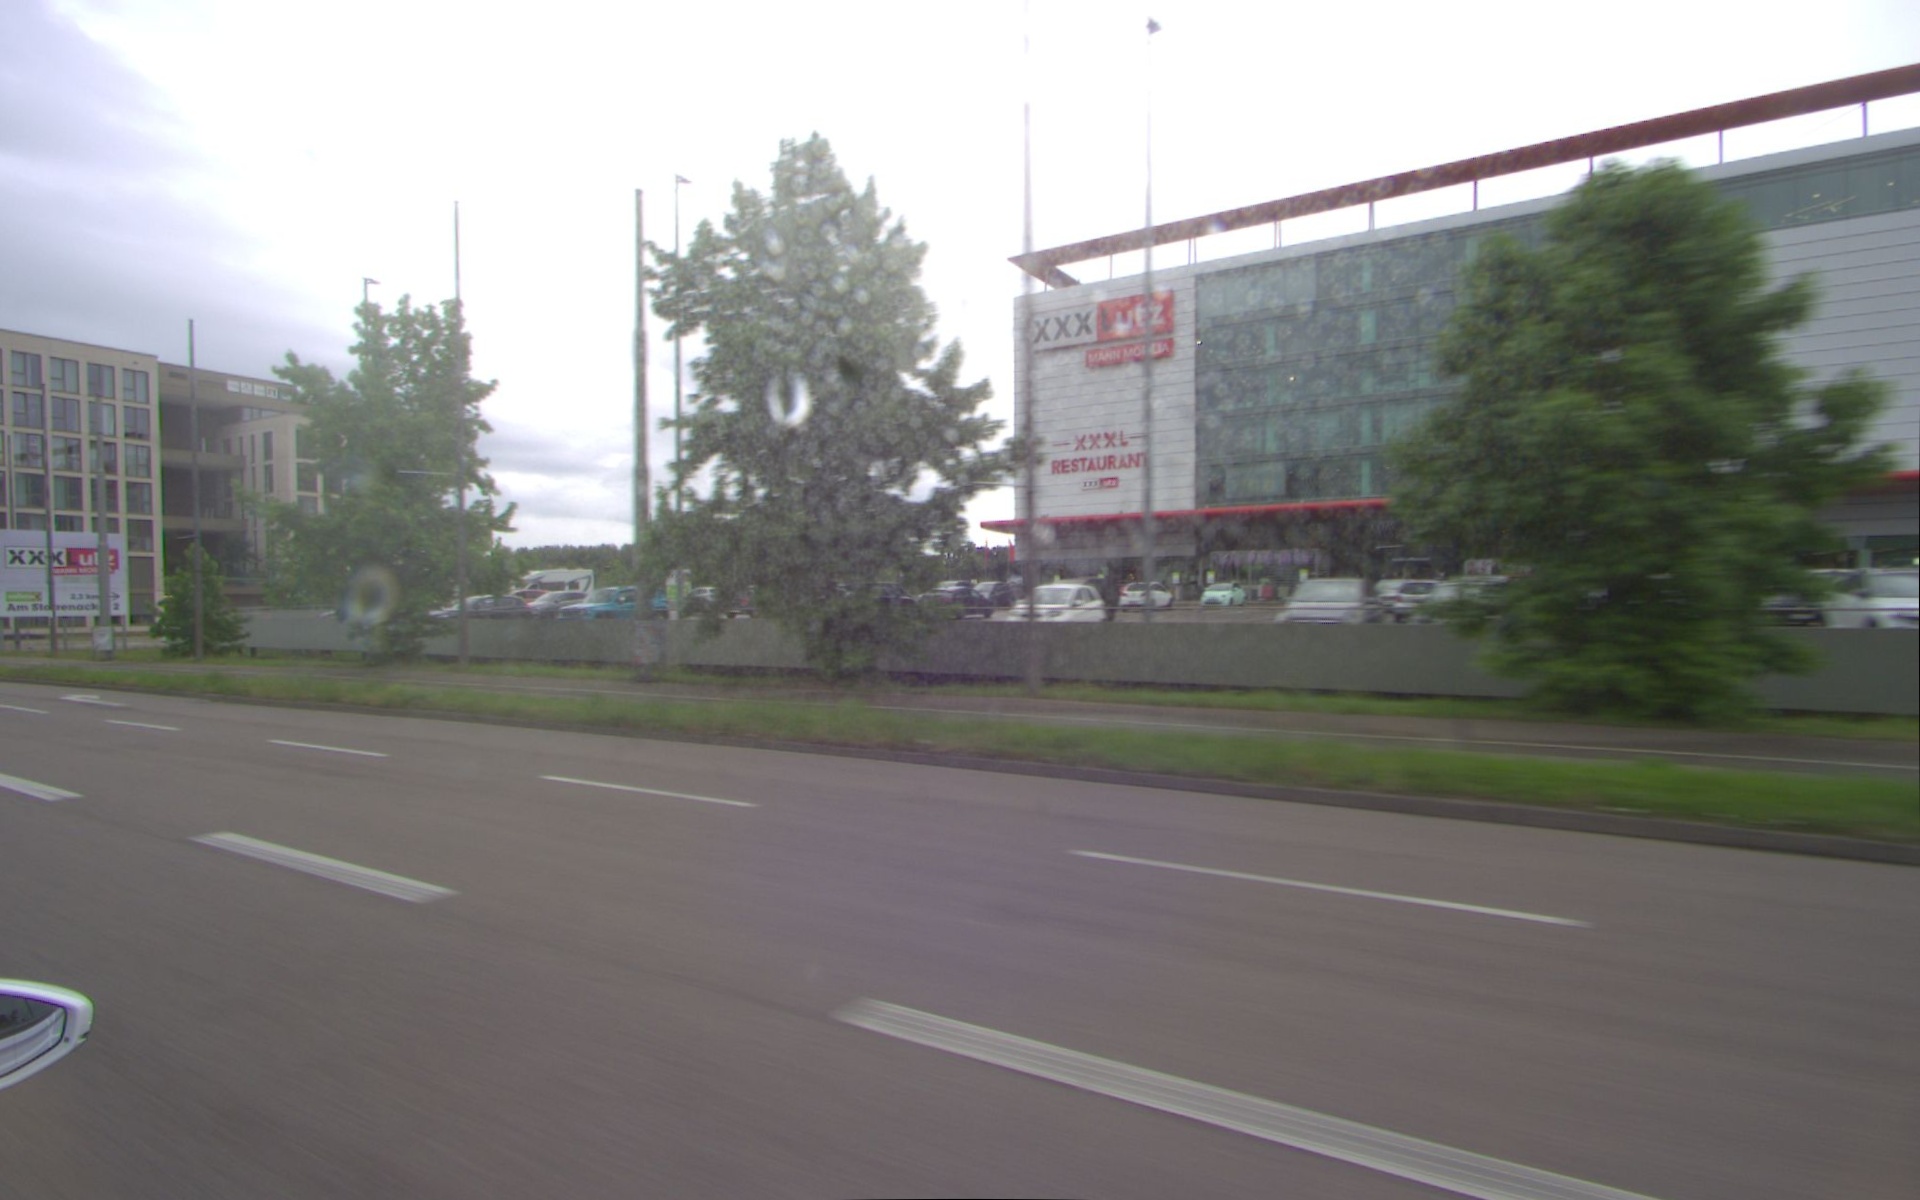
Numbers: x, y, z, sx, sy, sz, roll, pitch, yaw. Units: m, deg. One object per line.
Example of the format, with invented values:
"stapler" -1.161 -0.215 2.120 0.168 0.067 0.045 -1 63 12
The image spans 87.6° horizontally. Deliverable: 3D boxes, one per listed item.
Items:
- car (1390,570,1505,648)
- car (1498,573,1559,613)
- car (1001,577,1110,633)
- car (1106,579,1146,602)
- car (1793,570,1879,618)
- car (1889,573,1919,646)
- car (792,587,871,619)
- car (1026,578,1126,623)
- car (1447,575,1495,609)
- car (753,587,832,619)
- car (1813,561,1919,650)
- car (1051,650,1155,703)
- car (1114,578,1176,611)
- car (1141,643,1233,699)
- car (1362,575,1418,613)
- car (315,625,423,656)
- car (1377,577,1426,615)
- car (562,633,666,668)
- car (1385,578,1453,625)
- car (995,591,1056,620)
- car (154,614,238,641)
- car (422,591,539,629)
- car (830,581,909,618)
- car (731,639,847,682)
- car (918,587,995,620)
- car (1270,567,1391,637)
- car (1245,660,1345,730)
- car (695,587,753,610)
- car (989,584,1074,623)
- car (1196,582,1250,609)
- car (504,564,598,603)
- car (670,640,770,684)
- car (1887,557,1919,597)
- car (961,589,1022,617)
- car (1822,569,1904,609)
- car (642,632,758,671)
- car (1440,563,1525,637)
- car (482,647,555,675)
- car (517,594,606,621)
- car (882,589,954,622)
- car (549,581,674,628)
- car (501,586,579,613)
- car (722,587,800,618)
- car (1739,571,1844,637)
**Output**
"car" 10.072 0.155 20.540 1.737 1.418 4.047 2 1 31
"car" 23.720 -0.292 41.735 1.719 1.575 3.780 2 1 37
"car" 2.529 0.115 25.841 1.580 1.325 3.511 2 1 27
"car" 11.252 -0.620 67.693 1.682 1.518 3.630 2 1 27
"car" 31.884 -0.207 36.556 1.856 1.632 3.976 2 1 35
"car" 23.755 0.228 23.852 1.808 1.685 4.161 -1 -1 35
"car" -6.258 0.126 49.166 1.759 1.528 3.832 1 1 35
"car" 4.470 -0.006 38.077 1.972 1.613 4.355 2 1 34
"car" 25.236 -0.393 49.389 1.717 1.575 3.785 2 1 32
"car" -8.368 0.137 50.346 1.760 1.528 3.830 1 1 36
"car" 16.287 0.105 17.078 1.736 1.368 4.051 2 1 28
"car" 4.456 2.290 30.743 1.738 1.368 4.048 -1 -1 31
"car" 9.417 -0.271 50.827 1.678 1.576 3.620 2 1 37
"car" 8.654 2.628 37.863 1.973 1.856 4.356 -1 -1 34
"car" 19.145 -0.258 44.516 1.837 1.607 4.280 2 1 29
"car" -25.487 1.716 43.275 1.695 1.192 3.686 1 1 32
"car" 21.967 -0.205 49.800 1.787 1.805 3.977 2 1 30
"car" -14.773 2.130 42.975 1.739 1.368 4.045 -1 -1 33
"car" 16.098 0.044 35.036 1.589 1.546 3.554 2 1 34
"car" 3.682 0.317 55.626 1.679 1.516 3.619 2 1 37
"car" -52.874 1.857 69.380 1.967 1.775 4.167 -1 -1 24
"car" -18.599 0.366 38.993 1.695 1.403 3.866 1 1 31
"car" -4.212 -0.019 46.995 1.678 1.655 3.620 2 1 37
"car" -5.054 1.764 29.959 1.494 1.146 3.507 -1 -1 32
"car" -0.126 0.149 44.746 1.677 1.374 3.622 2 1 34
"car" 8.192 0.028 21.918 1.737 1.368 4.047 2 1 31
"car" 9.295 2.544 27.595 1.738 1.572 4.047 -1 -1 32
"car" -17.223 -0.080 73.088 1.840 1.598 3.978 -1 -1 33
"car" 3.057 0.138 41.853 1.819 1.539 4.222 2 1 31
"car" 14.281 -0.253 54.294 1.678 1.394 3.584 2 1 34
"car" -25.138 -0.981 61.710 2.136 2.241 4.995 2 1 36
"car" -11.021 2.817 46.241 1.973 1.856 4.356 -1 -1 34
"car" 40.009 -0.908 41.315 1.803 1.575 3.786 2 1 31
"car" 1.830 0.182 57.235 1.679 1.516 3.619 2 1 37
"car" 37.056 -0.433 41.177 1.804 1.575 3.785 2 1 32
"car" -8.321 1.625 32.332 1.583 1.146 3.507 -1 -1 32
"car" 15.646 0.028 29.898 1.971 2.040 4.168 -1 -1 31
"car" -24.876 3.406 56.506 1.438 1.303 3.611 2 1 34
"car" -20.975 0.399 52.818 1.732 1.333 4.088 2 1 40
"car" -2.070 0.253 50.303 1.678 1.576 3.620 2 1 37
"car" -12.284 0.151 35.535 1.784 1.545 4.063 1 0 29
"car" -23.032 -0.016 54.950 1.599 1.439 3.682 1 1 36
"car" -10.206 0.093 51.547 1.760 1.528 3.830 1 1 36
"car" 23.965 0.113 29.006 1.814 1.744 3.977 2 1 33
